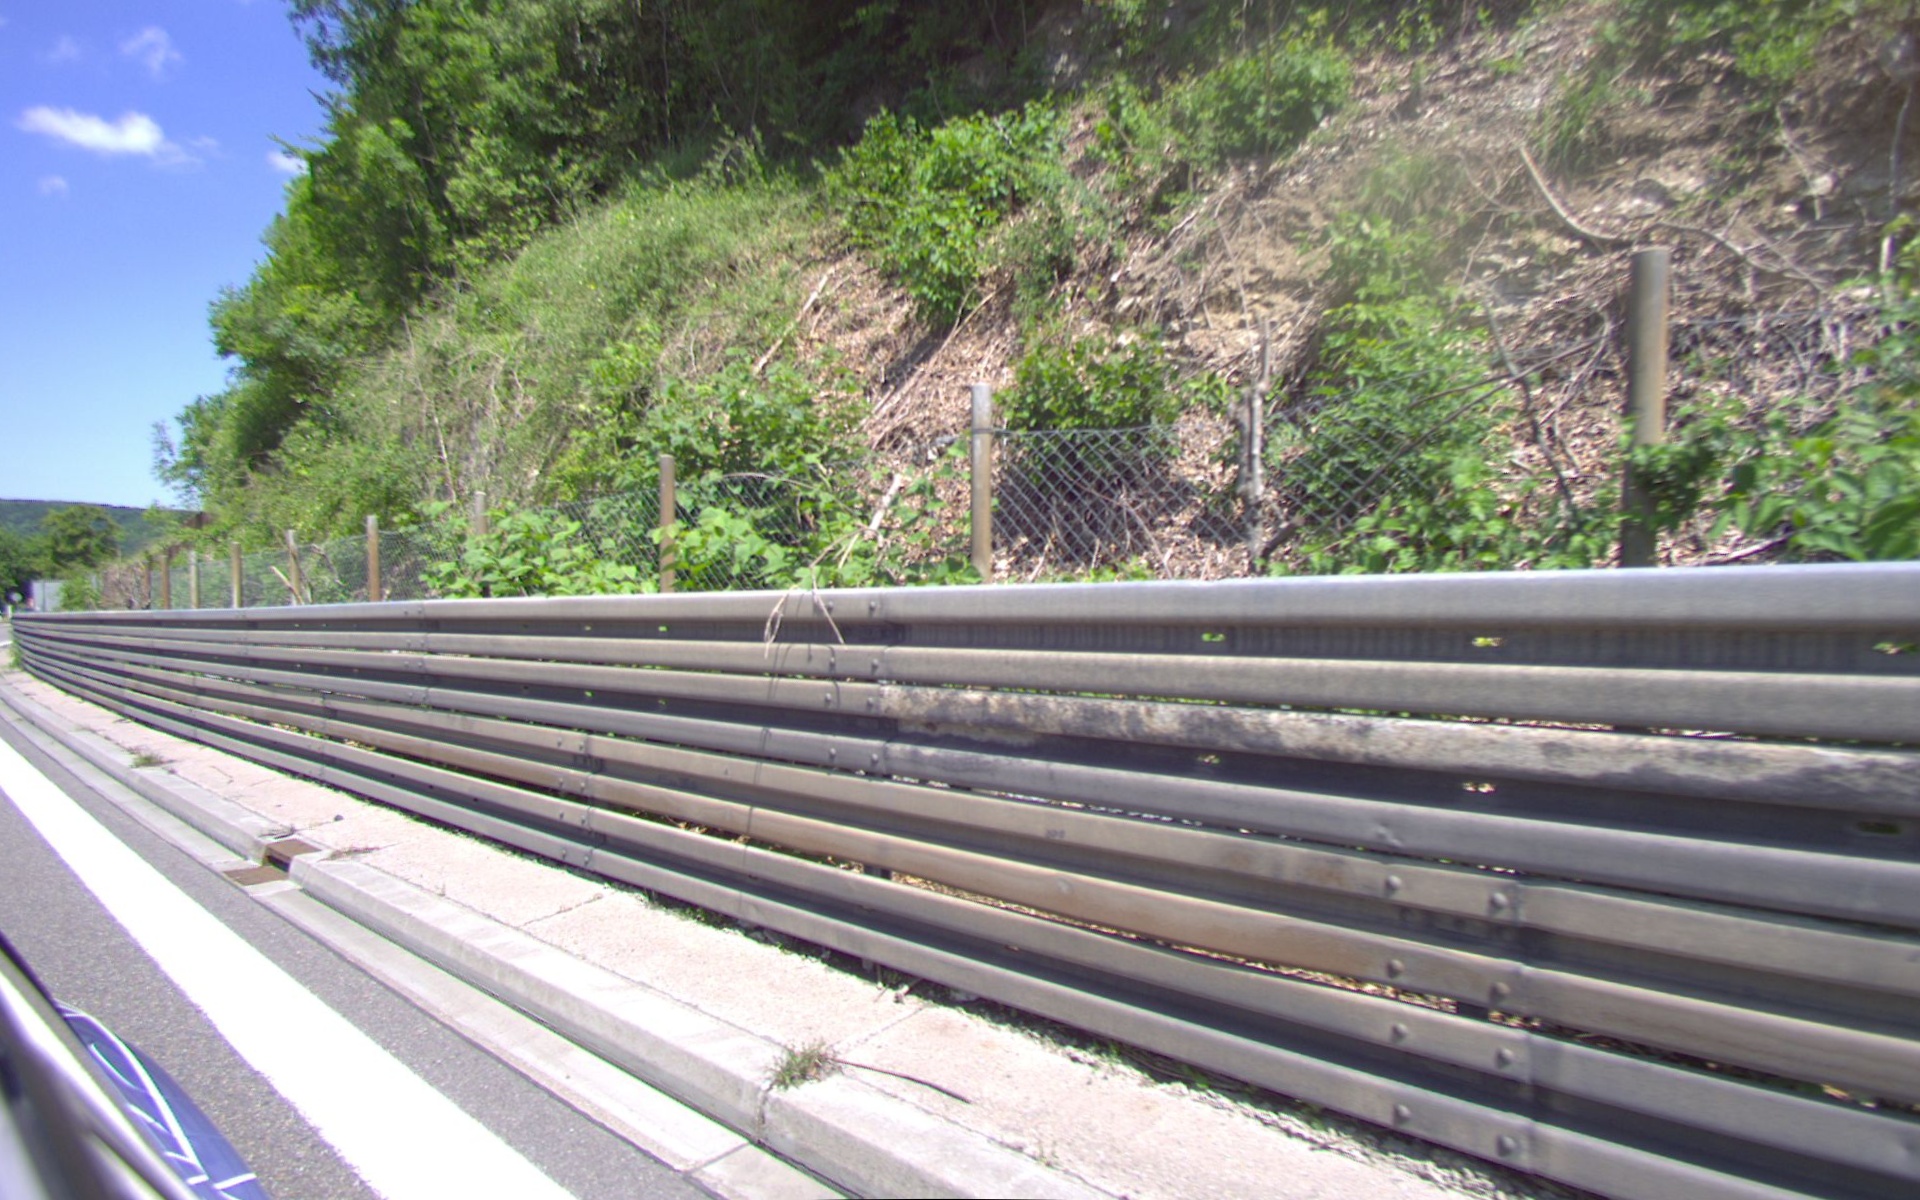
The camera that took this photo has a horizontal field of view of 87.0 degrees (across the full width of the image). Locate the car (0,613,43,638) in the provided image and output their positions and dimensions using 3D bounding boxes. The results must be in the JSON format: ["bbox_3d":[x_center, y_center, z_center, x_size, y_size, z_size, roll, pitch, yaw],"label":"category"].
[{"bbox_3d":[-77.257,2.074,83.148,1.966,2.029,4.012,0,-1,-30],"label":"car"}]
